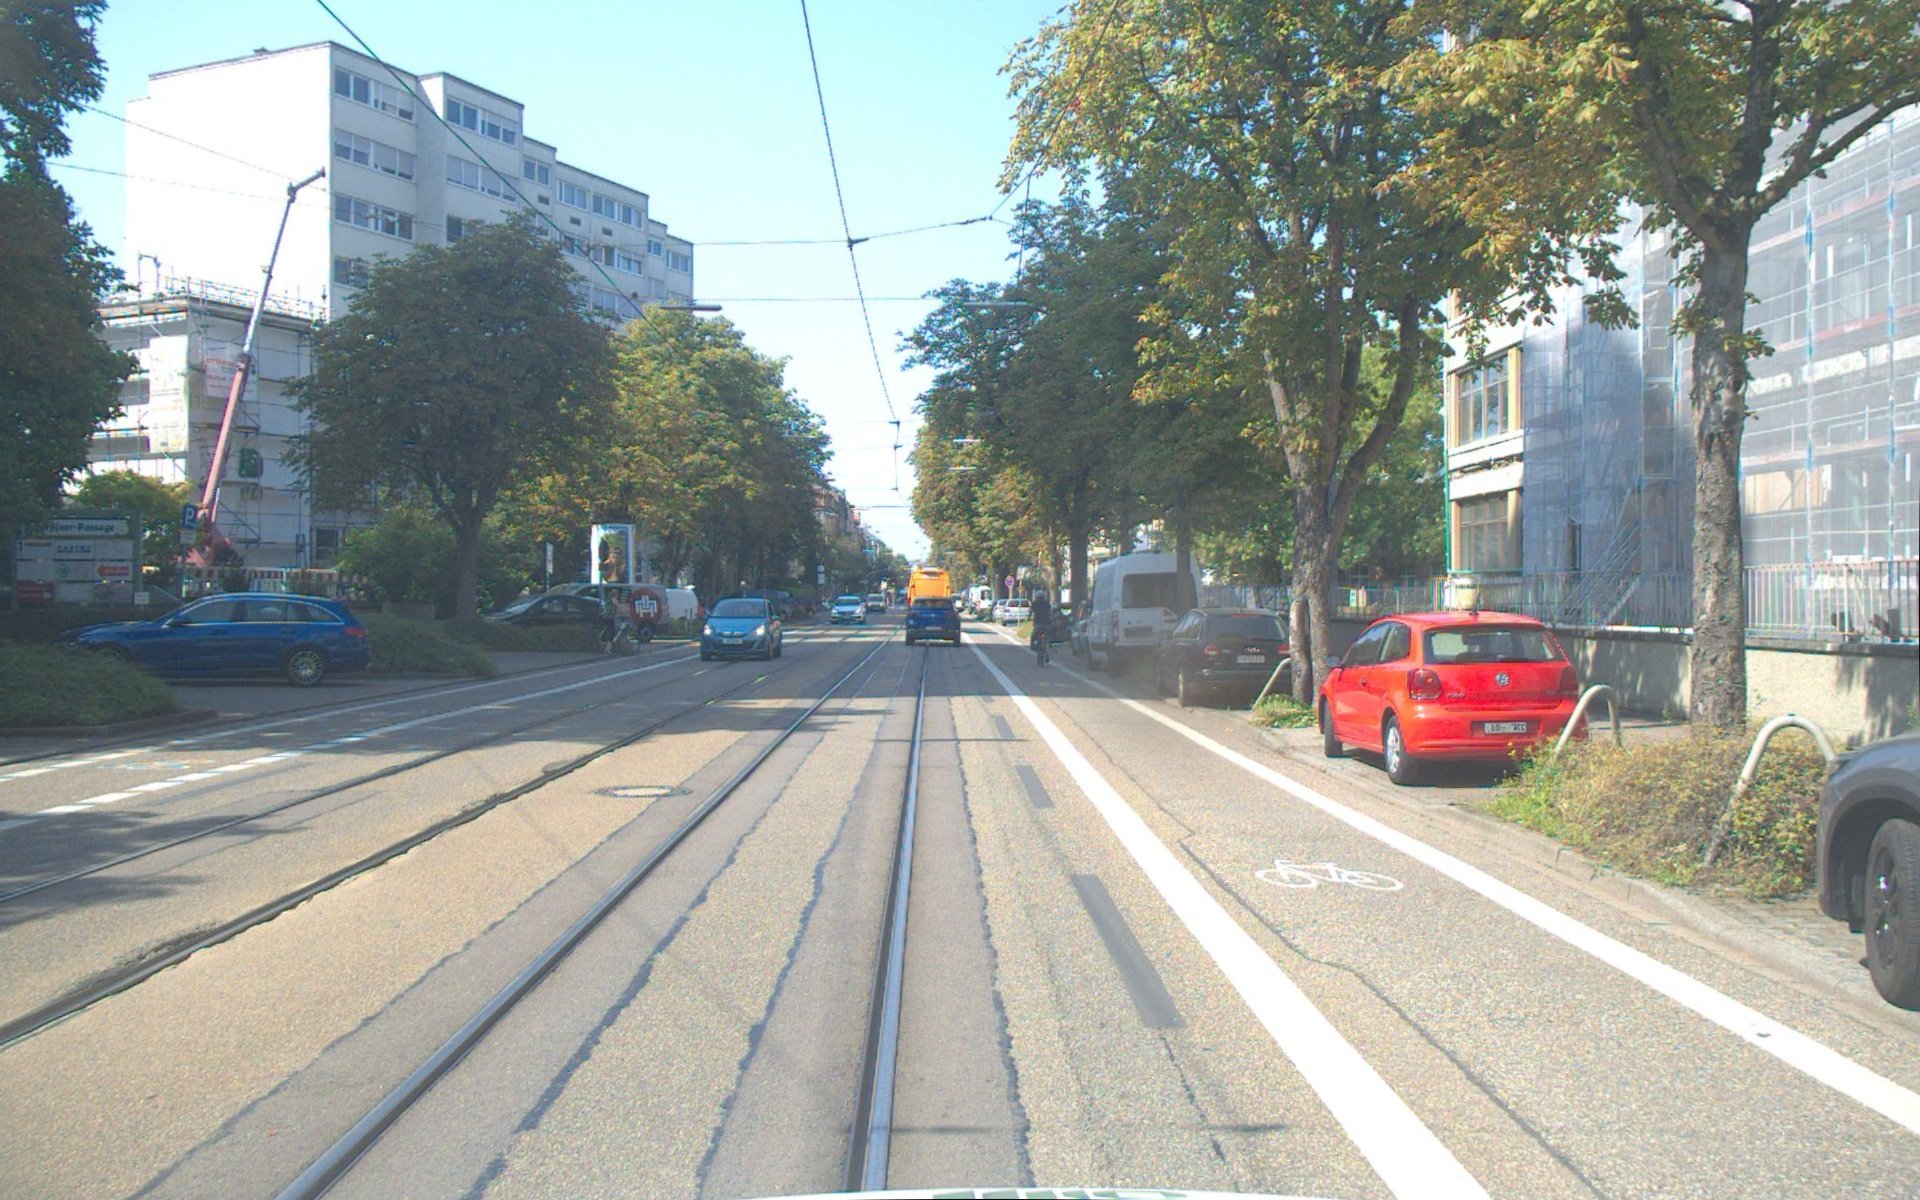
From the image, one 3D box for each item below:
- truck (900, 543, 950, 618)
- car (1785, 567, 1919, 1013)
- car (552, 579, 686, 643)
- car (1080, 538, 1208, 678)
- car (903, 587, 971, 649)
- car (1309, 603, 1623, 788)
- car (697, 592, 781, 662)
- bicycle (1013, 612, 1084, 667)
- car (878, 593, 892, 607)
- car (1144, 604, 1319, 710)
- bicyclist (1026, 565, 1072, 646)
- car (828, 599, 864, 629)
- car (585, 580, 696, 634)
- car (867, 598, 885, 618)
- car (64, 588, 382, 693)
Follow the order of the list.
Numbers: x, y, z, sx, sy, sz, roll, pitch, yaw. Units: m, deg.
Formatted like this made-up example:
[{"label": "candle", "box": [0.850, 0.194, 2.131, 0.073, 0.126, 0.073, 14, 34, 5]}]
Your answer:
[{"label": "truck", "box": [-1.539, -0.858, 73.951, 2.092, 3.179, 6.084, 0, 0, -1]}, {"label": "car", "box": [4.552, 0.738, 5.121, 1.705, 1.697, 4.360, 1, 0, -2]}, {"label": "car", "box": [-11.220, 0.355, 54.535, 3.970, 2.049, 1.827, 1, 0, -44]}, {"label": "car", "box": [3.920, 0.151, 36.223, 1.953, 2.804, 5.759, 1, 0, -2]}, {"label": "car", "box": [-0.756, 0.537, 53.924, 2.092, 1.891, 5.567, 0, 0, -1]}, {"label": "car", "box": [4.569, 0.791, 15.503, 1.705, 1.488, 3.682, 1, 0, -2]}, {"label": "car", "box": [-5.337, 0.612, 40.373, 1.601, 1.612, 4.187, 1, 0, -2]}, {"label": "bicycle", "box": [2.035, 0.892, 38.693, 1.373, 1.154, 3.999, 0, 0, -1]}, {"label": "car", "box": [-9.934, -0.057, 218.702, 1.712, 1.828, 3.998, 1, 0, -2]}, {"label": "car", "box": [4.093, 0.813, 25.633, 1.869, 1.456, 4.291, 1, 0, -2]}, {"label": "bicyclist", "box": [2.075, 0.123, 38.701, 1.011, 1.844, 1.016, 1, 0, -1]}, {"label": "car", "box": [-6.374, 0.782, 92.865, 1.860, 1.589, 4.121, 1, 0, -2]}, {"label": "car", "box": [-12.560, 0.288, 65.178, 3.970, 2.049, 1.827, 1, 0, -44]}, {"label": "car", "box": [-7.767, 0.732, 152.983, 1.594, 1.734, 3.998, 1, 0, -2]}, {"label": "car", "box": [-11.802, 0.626, 26.709, 4.511, 1.580, 1.984, 1, 0, -25]}]
